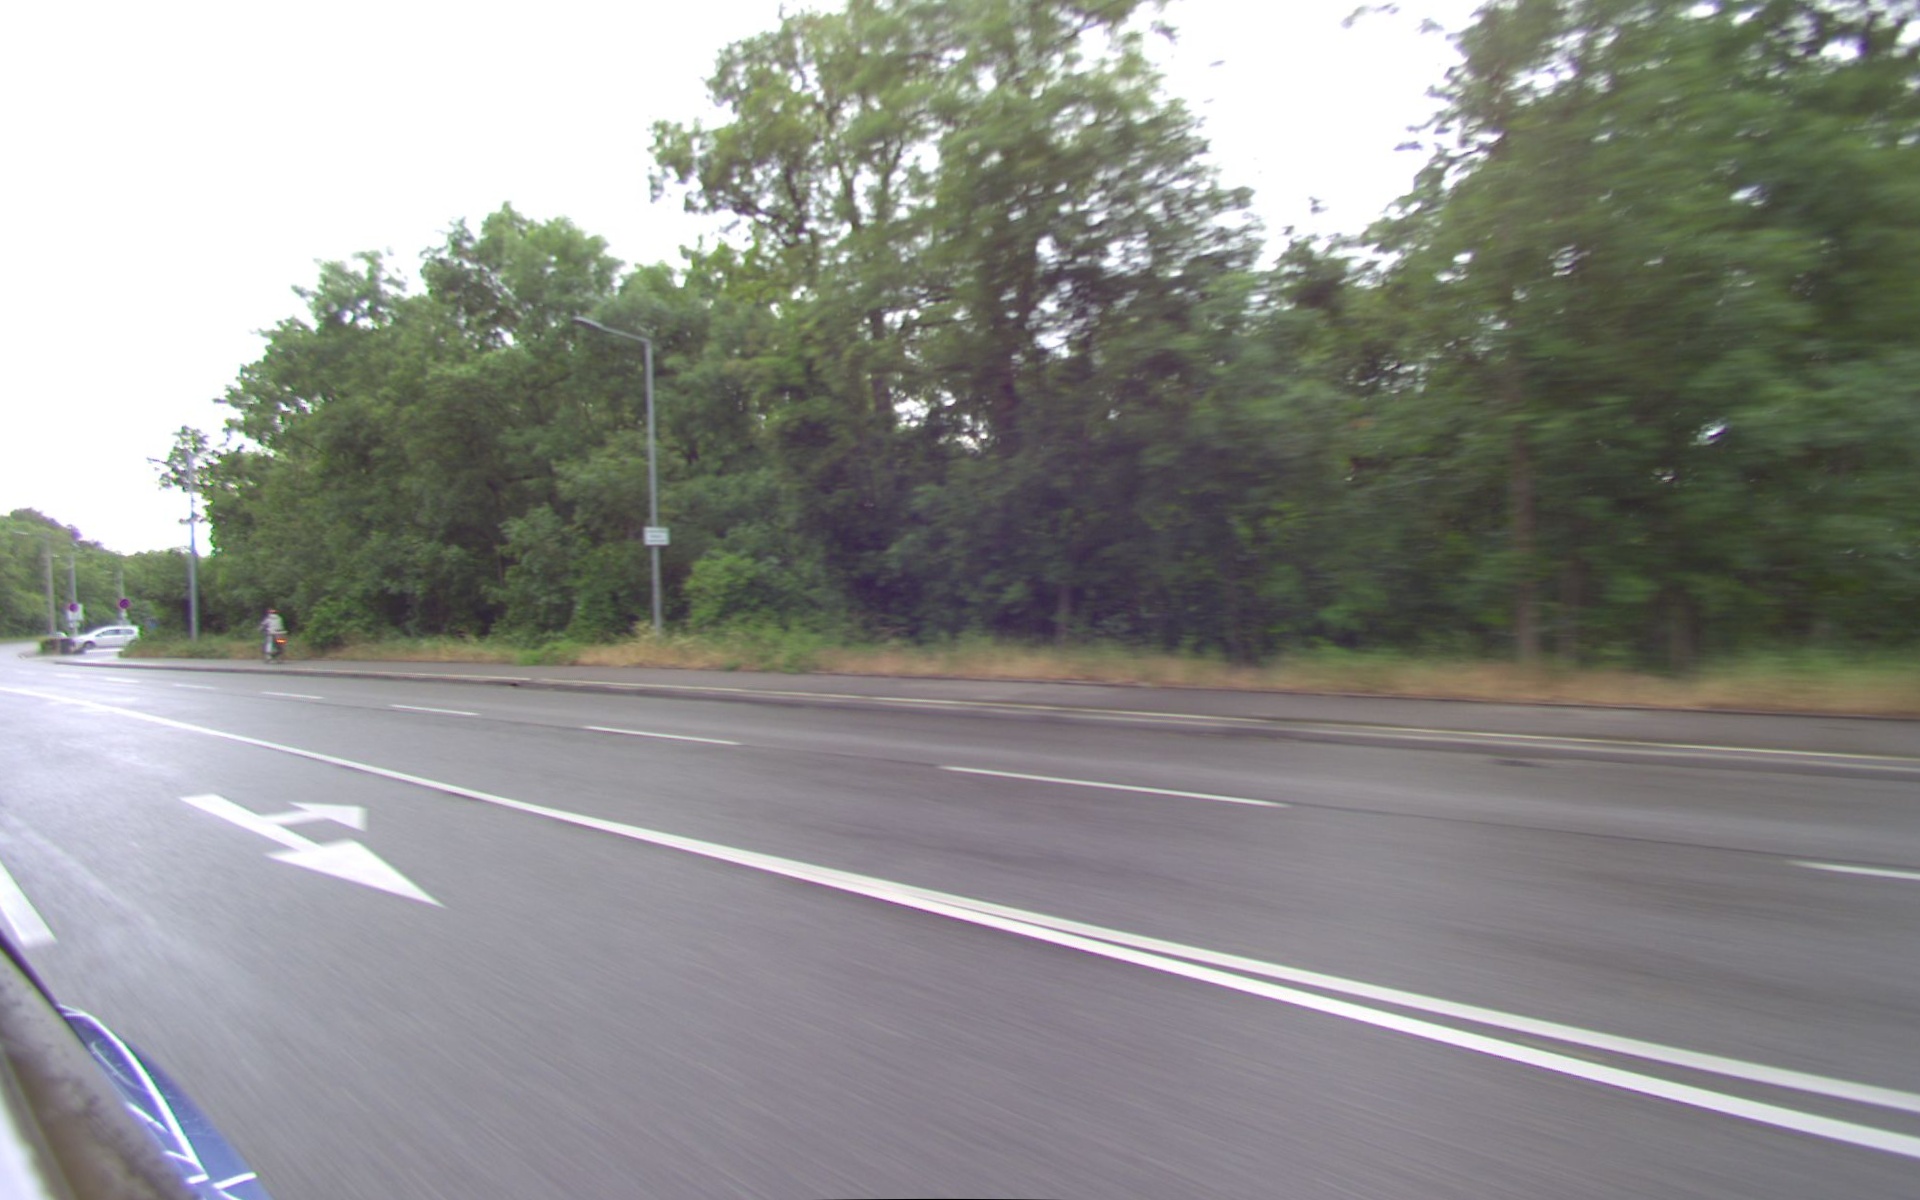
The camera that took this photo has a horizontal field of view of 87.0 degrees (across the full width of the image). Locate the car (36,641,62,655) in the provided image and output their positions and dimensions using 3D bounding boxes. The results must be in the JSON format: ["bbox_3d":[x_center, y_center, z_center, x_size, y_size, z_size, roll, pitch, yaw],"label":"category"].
[{"bbox_3d":[-103.159,5.412,114.640,1.828,1.484,3.921,1,-3,-37],"label":"car"}]

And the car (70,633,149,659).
[{"bbox_3d":[-61.436,3.298,73.158,4.317,1.613,1.758,-2,0,-42],"label":"car"}]

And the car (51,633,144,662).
[{"bbox_3d":[-58.237,3.175,68.402,4.686,1.729,1.896,-2,0,-44],"label":"car"}]

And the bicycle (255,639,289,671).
[{"bbox_3d":[-23.059,1.832,33.890,2.017,1.011,0.447,-3,0,42],"label":"bicycle"}]

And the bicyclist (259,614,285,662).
[{"bbox_3d":[-22.973,1.270,33.789,0.572,1.598,0.700,1,-2,-45],"label":"bicyclist"}]
